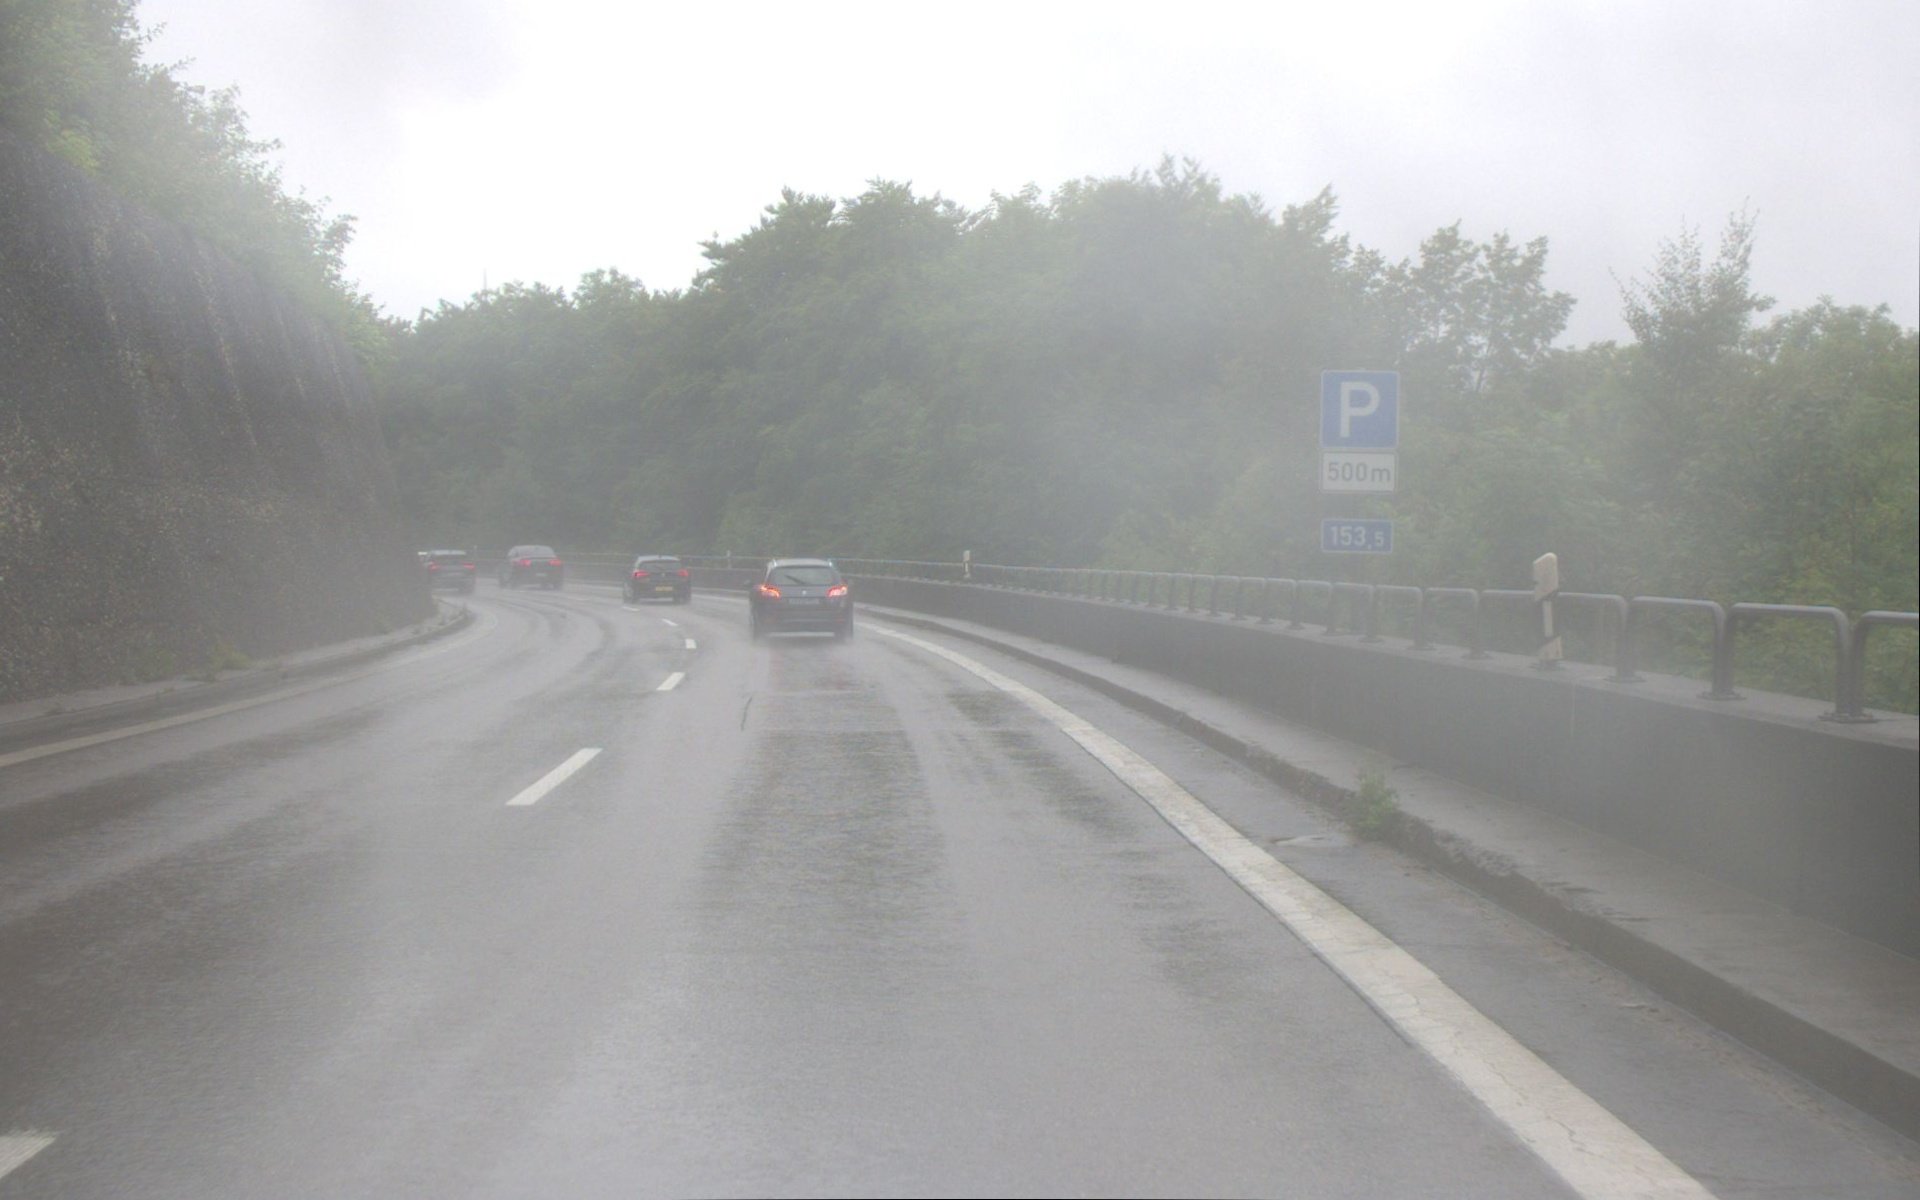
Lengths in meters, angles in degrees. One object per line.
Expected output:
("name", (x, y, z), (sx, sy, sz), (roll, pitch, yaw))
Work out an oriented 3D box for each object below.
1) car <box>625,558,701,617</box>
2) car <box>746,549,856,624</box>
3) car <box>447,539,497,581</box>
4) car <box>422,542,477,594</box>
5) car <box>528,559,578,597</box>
("car", (-9.060, -0.389, 104.554), (1.993, 1.744, 4.001), (0, 0, -9))
("car", (-2.898, -0.255, 61.979), (1.800, 1.303, 4.001), (0, 1, -5))
("car", (-23.791, -1.959, 167.400), (1.993, 2.007, 4.001), (0, 0, -14))
("car", (-19.102, -1.186, 128.585), (1.993, 1.897, 4.001), (0, 0, -9))
("car", (-16.017, -0.878, 135.063), (1.800, 1.462, 4.001), (0, 1, -9))
